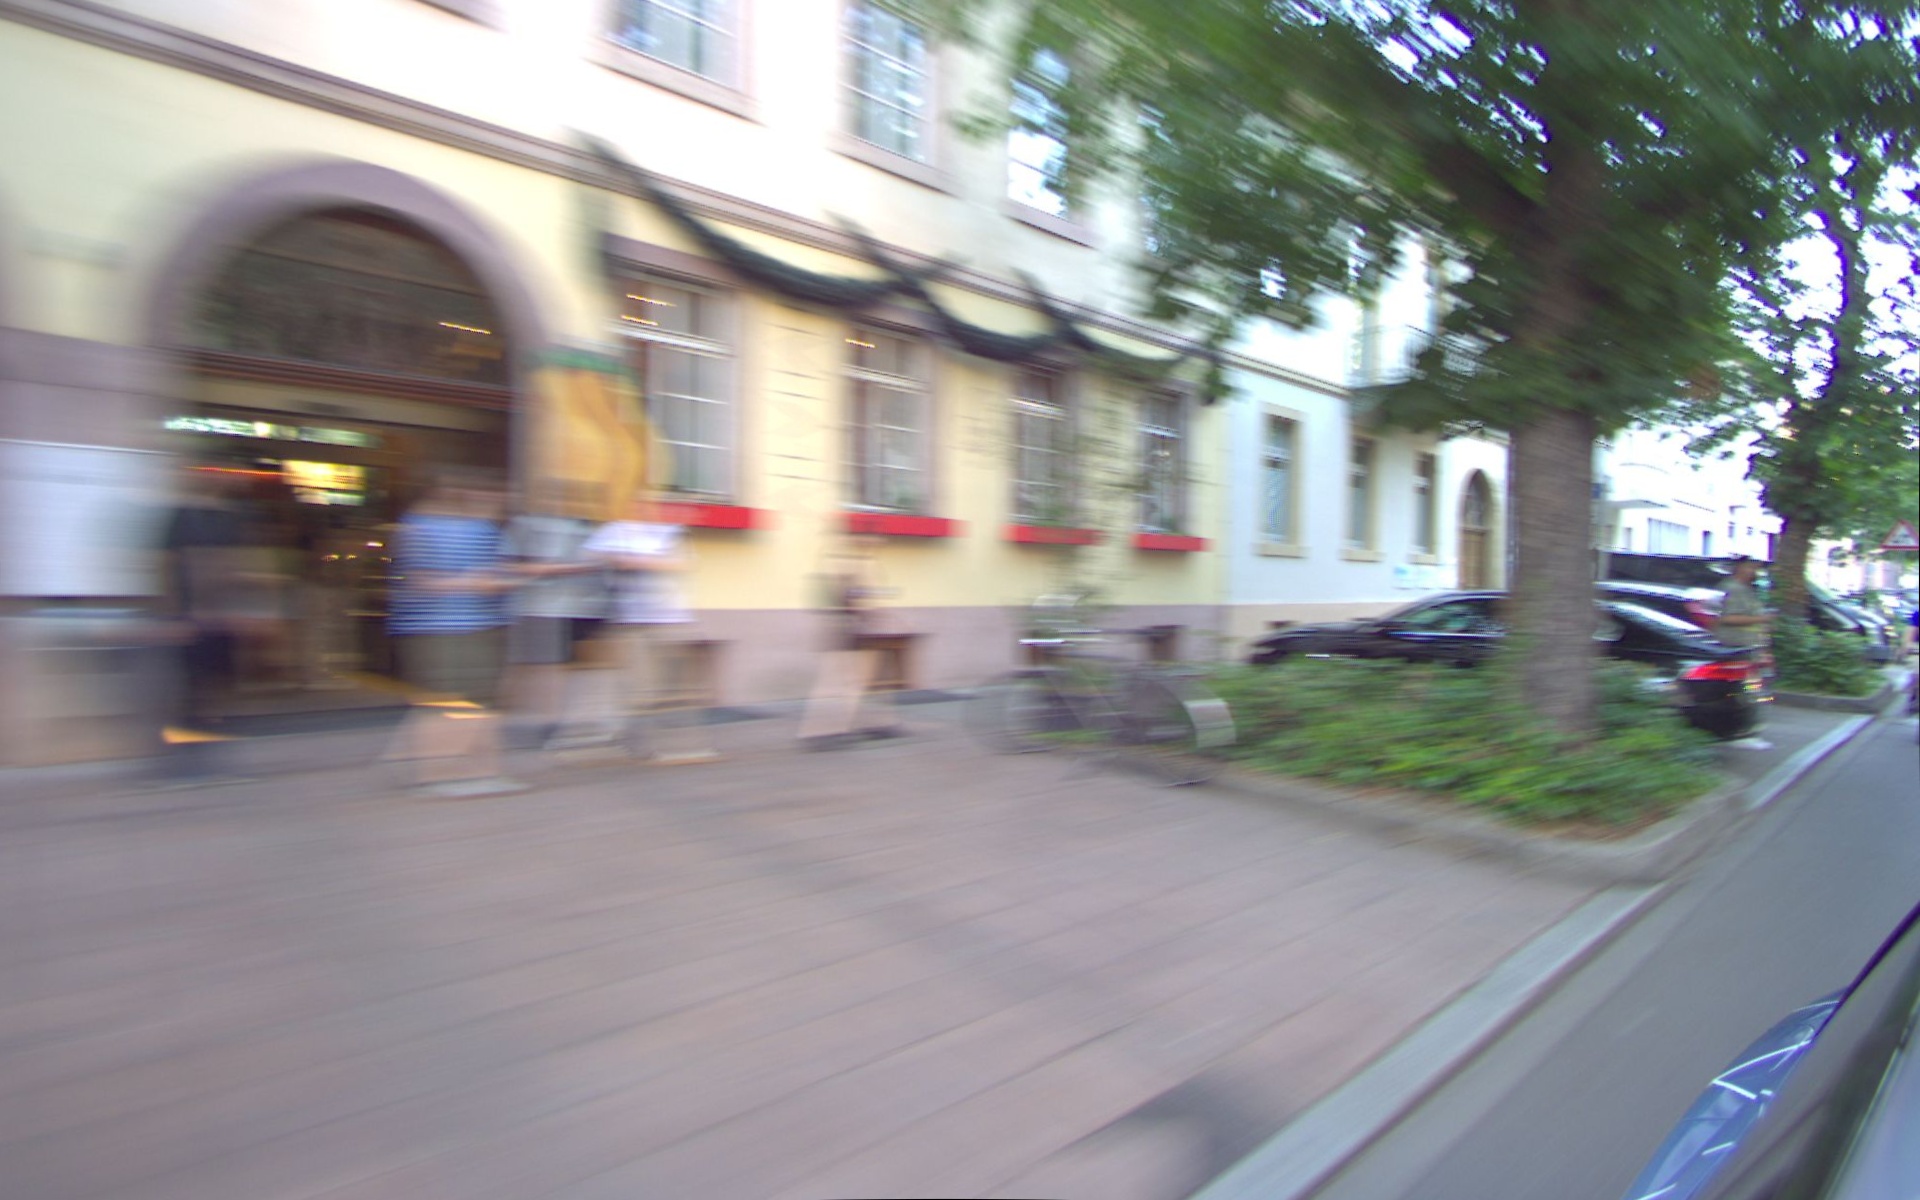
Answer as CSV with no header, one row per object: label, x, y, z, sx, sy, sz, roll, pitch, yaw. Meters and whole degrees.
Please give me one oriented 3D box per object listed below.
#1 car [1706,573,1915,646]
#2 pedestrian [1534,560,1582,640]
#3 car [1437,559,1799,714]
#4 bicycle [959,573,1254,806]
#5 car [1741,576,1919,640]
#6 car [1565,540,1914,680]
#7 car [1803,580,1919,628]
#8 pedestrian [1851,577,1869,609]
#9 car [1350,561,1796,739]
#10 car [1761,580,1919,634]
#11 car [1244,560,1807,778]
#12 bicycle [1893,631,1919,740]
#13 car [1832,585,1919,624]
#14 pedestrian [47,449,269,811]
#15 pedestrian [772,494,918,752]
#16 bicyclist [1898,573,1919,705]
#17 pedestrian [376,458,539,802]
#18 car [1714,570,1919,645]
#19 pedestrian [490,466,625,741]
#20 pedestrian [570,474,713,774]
car,21.257,0.179,25.404,1.669,1.440,3.798,0,5,-44
pedestrian,12.316,-0.003,20.842,0.724,1.619,0.669,0,0,-43
car,8.688,0.360,13.589,1.685,1.597,3.688,0,5,-42
bicycle,0.919,0.500,6.674,1.791,1.247,0.664,5,4,38
car,25.024,0.191,28.819,1.786,1.446,4.085,0,5,-41
car,14.078,0.060,18.512,2.003,2.035,4.697,0,5,-43
car,33.156,0.130,36.392,1.927,1.637,4.116,0,2,-42
pedestrian,54.228,-0.439,60.957,0.697,1.878,1.033,3,2,44
car,6.886,0.410,11.663,1.895,1.454,3.993,-1,5,-44
car,28.933,0.194,32.877,1.764,1.514,4.320,-1,3,-43
car,5.265,0.451,9.887,1.855,1.410,4.406,-1,5,-44
bicycle,10.421,0.877,10.700,1.944,1.043,0.673,0,-1,-43
car,37.826,0.175,40.698,1.763,1.455,3.993,0,2,-42
pedestrian,-4.281,0.122,5.409,0.773,1.760,0.677,4,2,31
pedestrian,-0.840,0.139,7.392,0.714,1.760,0.707,1,2,-42
bicyclist,10.477,0.407,10.762,0.763,1.381,0.673,0,-1,-43
pedestrian,-2.788,0.140,5.607,0.613,1.760,0.616,1,2,-43
car,23.321,0.146,27.194,1.912,1.597,4.597,0,5,-44
pedestrian,-2.728,0.022,6.929,0.729,1.760,0.729,2,2,-16
pedestrian,-2.028,0.138,6.398,0.732,1.760,0.716,2,2,-23
